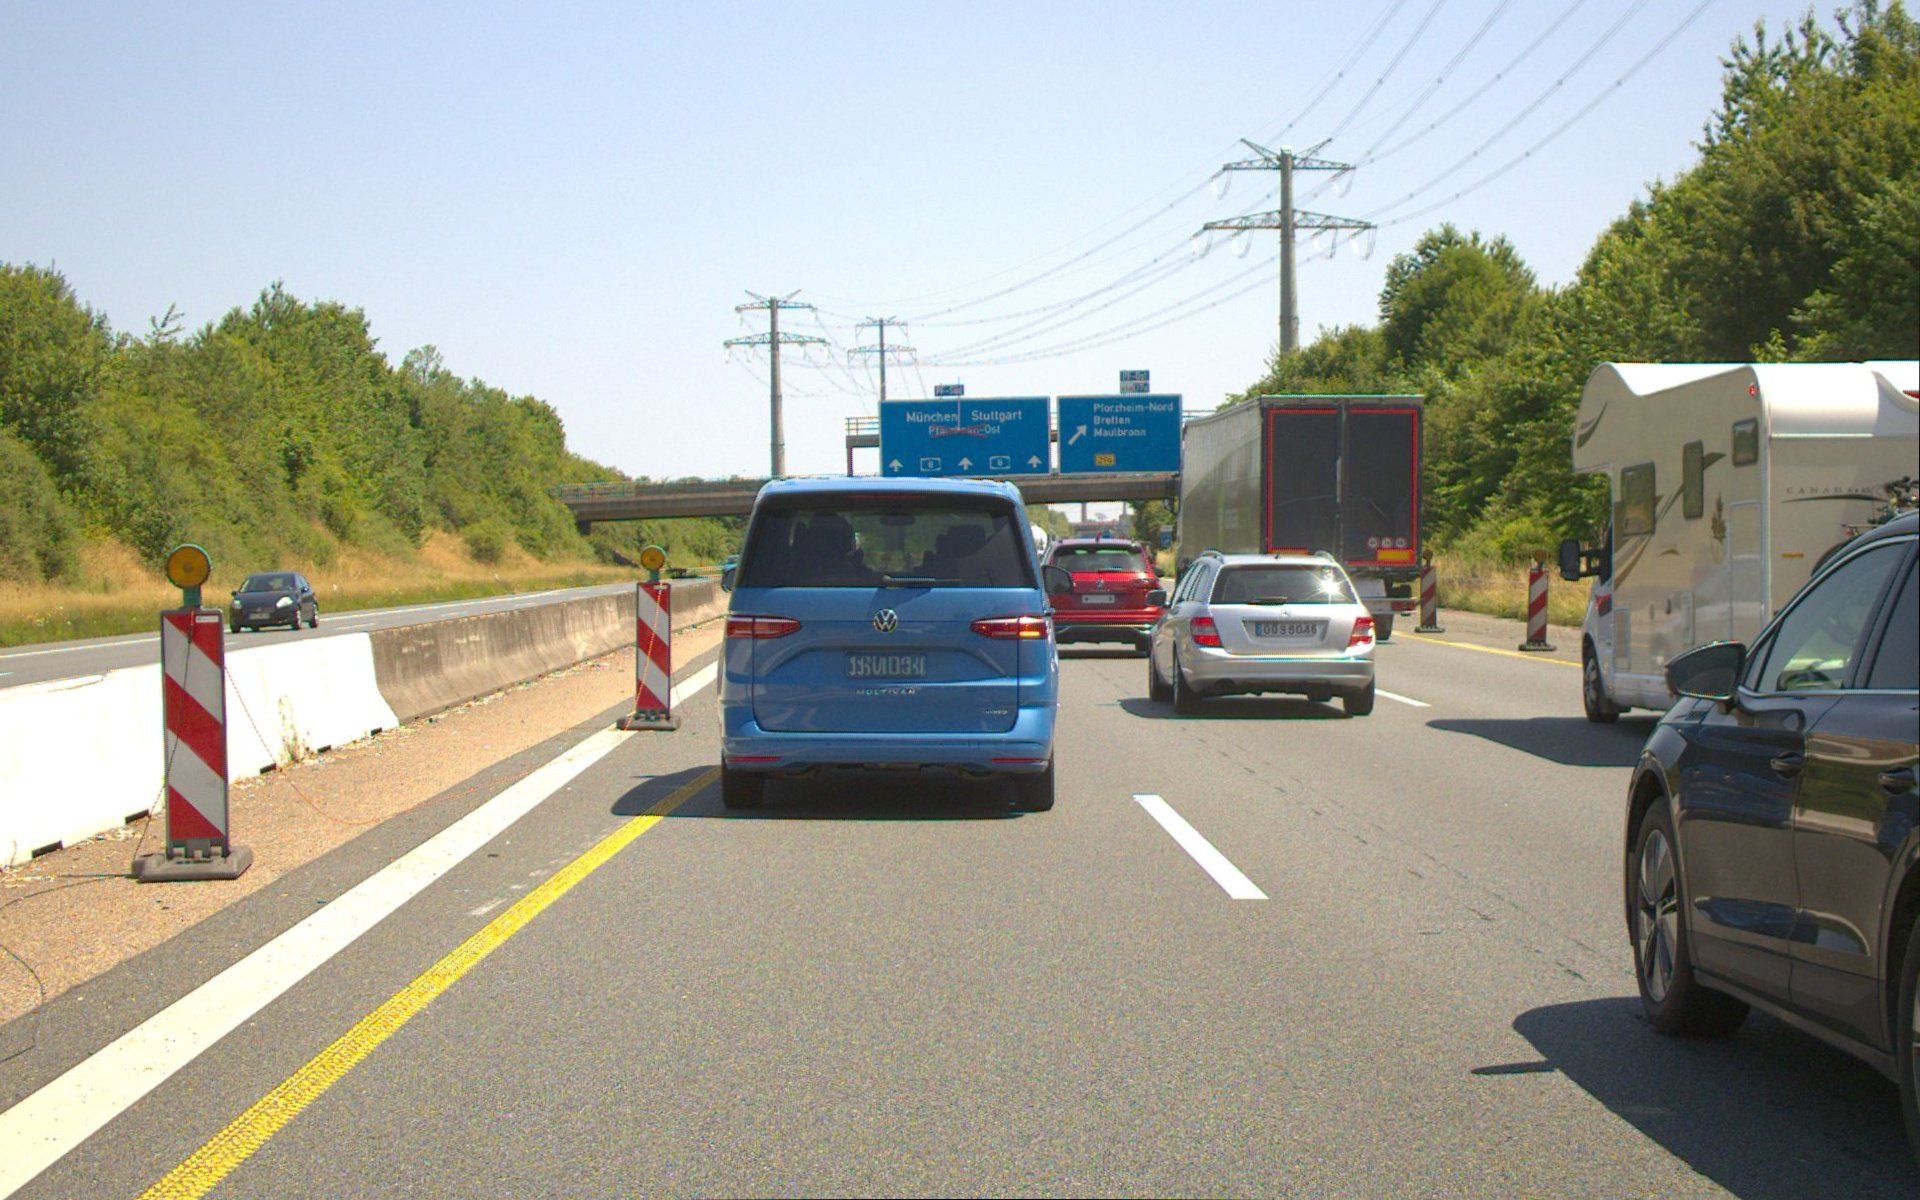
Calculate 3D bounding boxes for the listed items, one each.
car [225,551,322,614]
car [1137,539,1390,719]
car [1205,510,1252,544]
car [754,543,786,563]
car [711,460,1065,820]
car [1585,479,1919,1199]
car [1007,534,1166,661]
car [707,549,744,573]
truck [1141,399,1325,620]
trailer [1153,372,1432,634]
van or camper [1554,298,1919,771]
[{"bbox_3d":[-16.980,-0.446,85.126,1.708,1.459,3.850,-2,1,-2],"label":"car"},{"bbox_3d":[2.710,0.217,31.631,1.770,1.512,4.360,1,1,-2],"label":"car"},{"bbox_3d":[13.757,-3.736,176.357,1.874,1.665,4.360,1,1,-2],"label":"car"},{"bbox_3d":[-13.936,-3.469,252.467,1.993,1.393,4.000,-2,1,1],"label":"car"},{"bbox_3d":[-0.463,0.183,20.642,1.874,1.905,4.360,1,1,-2],"label":"car"},{"bbox_3d":[2.951,0.549,8.829,1.700,1.649,4.430,1,1,-2],"label":"car"},{"bbox_3d":[1.713,-0.062,47.995,1.874,1.665,4.360,1,1,-2],"label":"car"},{"bbox_3d":[-14.585,-2.412,214.020,1.993,1.393,4.000,-2,1,1],"label":"car"},{"bbox_3d":[5.181,-1.706,66.216,2.732,4.033,5.794,1,1,-3],"label":"truck"},{"bbox_3d":[5.554,-1.616,60.112,2.783,4.033,13.114,1,1,-3],"label":"trailer"},{"bbox_3d":[6.417,-0.467,26.000,2.369,3.033,7.633,1,1,-1],"label":"van or camper"}]
